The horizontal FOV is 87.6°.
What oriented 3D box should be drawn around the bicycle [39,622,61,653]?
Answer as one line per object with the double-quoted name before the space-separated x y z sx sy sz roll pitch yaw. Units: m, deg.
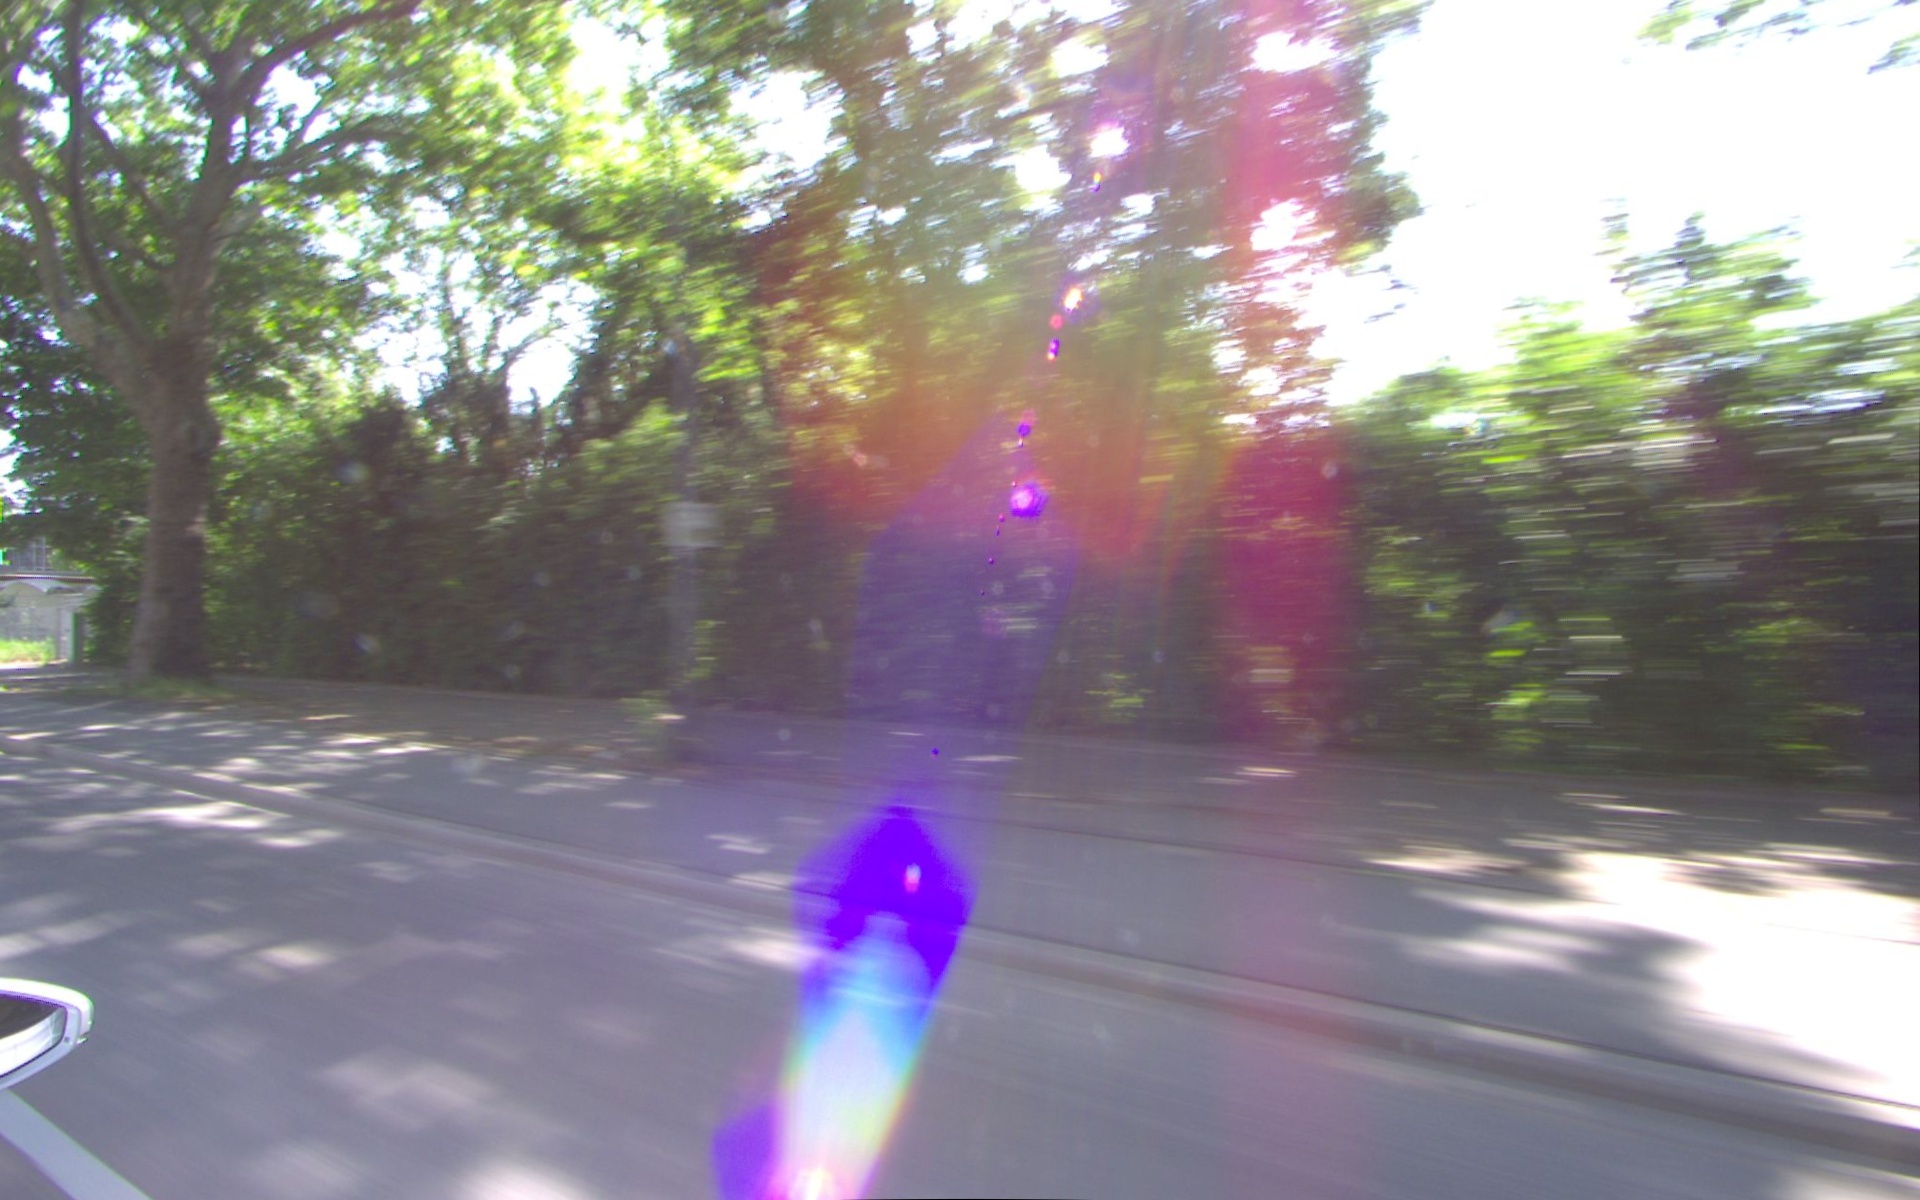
"bicycle" -36.469 1.491 40.120 1.157 1.196 0.388 0 -1 34
